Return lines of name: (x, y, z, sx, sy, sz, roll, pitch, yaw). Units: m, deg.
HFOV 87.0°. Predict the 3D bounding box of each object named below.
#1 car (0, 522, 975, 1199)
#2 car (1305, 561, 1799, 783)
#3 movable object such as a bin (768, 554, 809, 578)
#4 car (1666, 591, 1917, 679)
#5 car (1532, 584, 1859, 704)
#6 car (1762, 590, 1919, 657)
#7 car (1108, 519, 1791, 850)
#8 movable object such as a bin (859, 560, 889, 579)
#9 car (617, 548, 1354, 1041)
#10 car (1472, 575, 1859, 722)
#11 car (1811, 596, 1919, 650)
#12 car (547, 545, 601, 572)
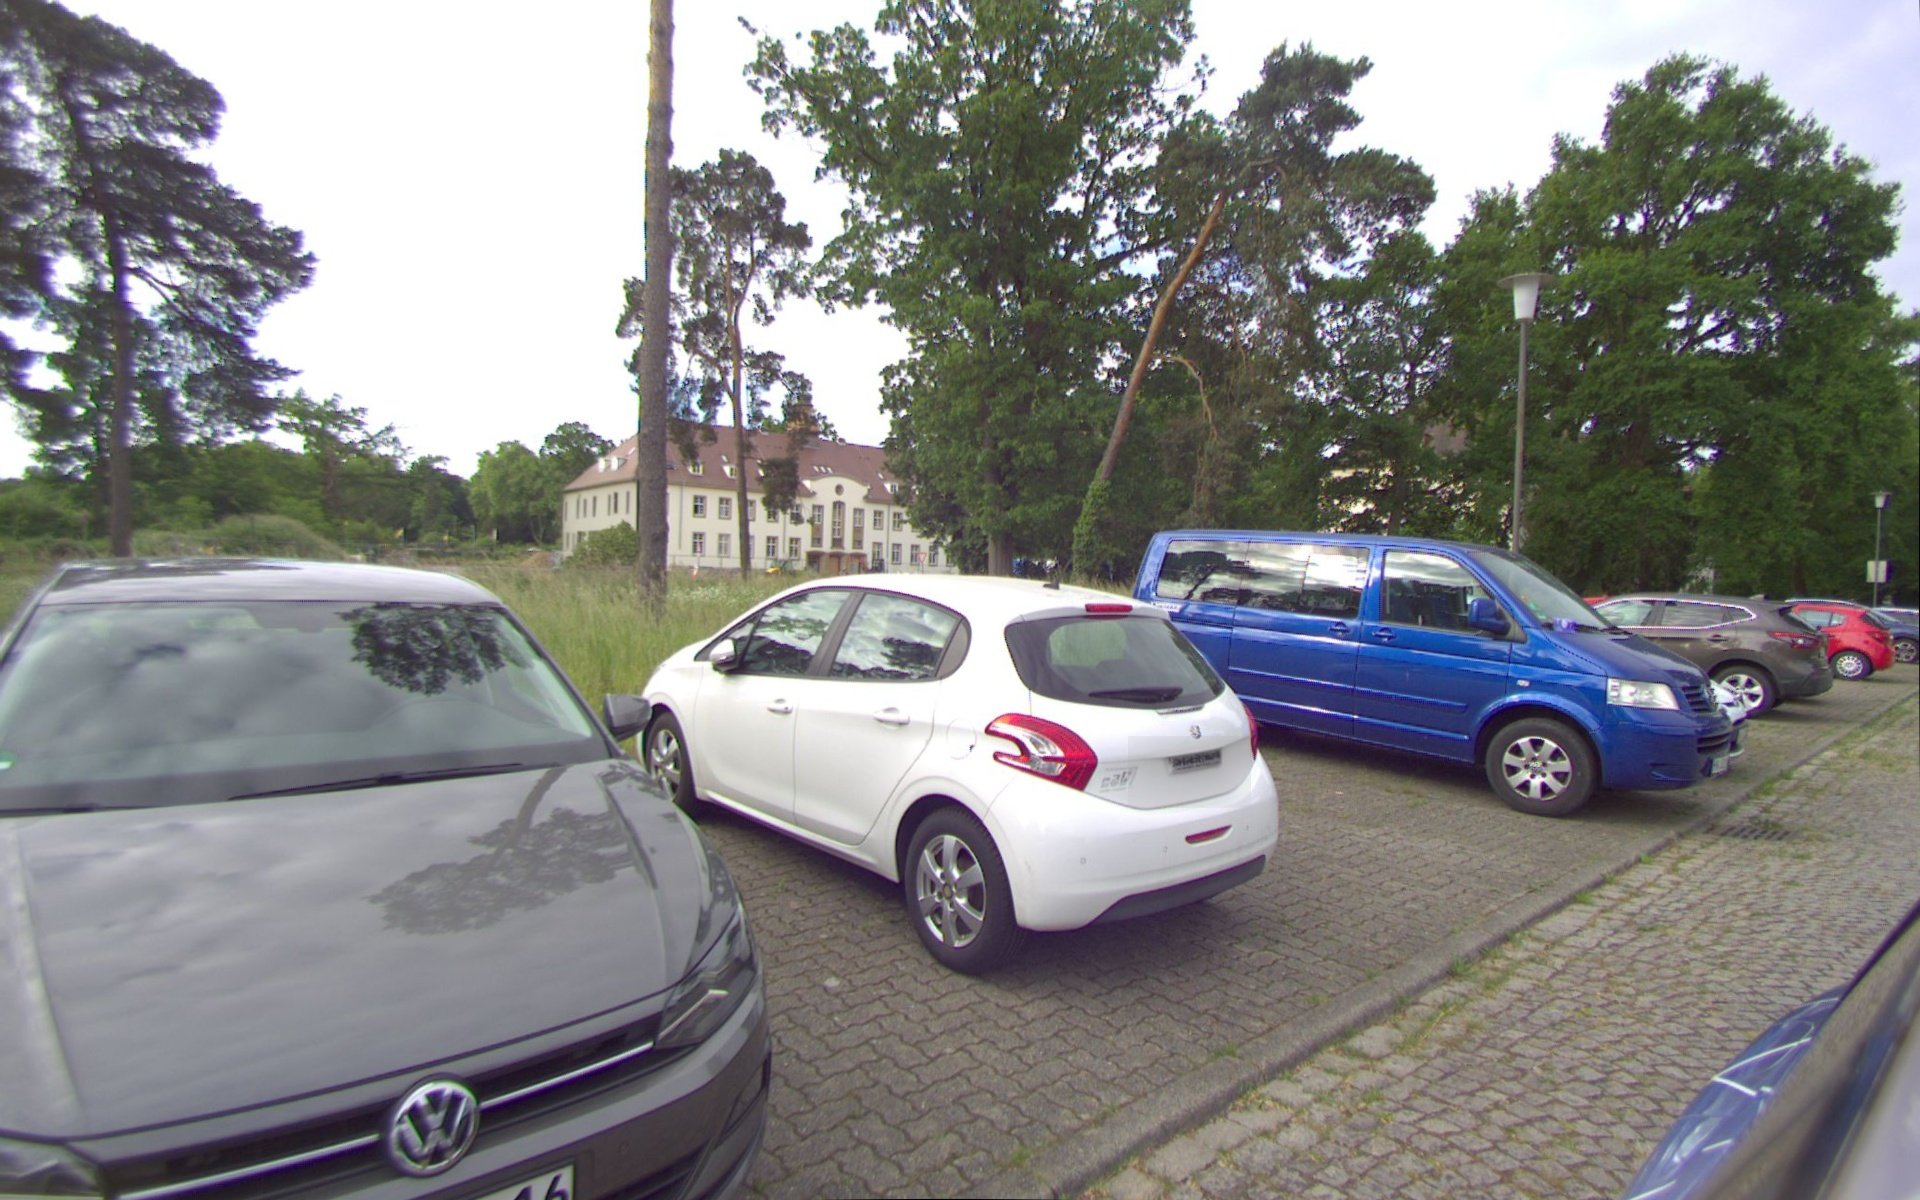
car: (-1.917, 0.592, 3.058, 1.727, 1.490, 3.871, 1, 4, -41)
car: (5.793, 0.536, 10.257, 1.810, 1.489, 3.871, 1, 6, -42)
movable object such as a bin: (-15.352, -3.041, 90.651, 3.181, 2.038, 1.682, 1, 2, -34)
car: (17.556, 0.665, 21.507, 1.555, 1.477, 3.891, 1, 3, -42)
car: (11.948, 0.610, 16.651, 1.735, 1.503, 4.015, 1, 3, -41)
car: (25.112, 0.641, 28.156, 1.555, 1.556, 4.147, 1, 3, -42)
car: (3.816, 0.386, 8.691, 1.969, 1.969, 4.817, 1, 4, -42)
movable object such as a bin: (-9.558, -3.391, 112.071, 2.933, 2.038, 1.553, 1, 2, -41)
car: (-0.210, 0.577, 5.367, 1.727, 1.490, 3.872, 1, 4, -40)
car: (10.076, 0.566, 14.721, 1.791, 1.618, 4.268, 1, 3, -42)
car: (28.731, 0.739, 30.972, 1.555, 1.443, 3.875, 1, 3, -42)
car: (-36.110, -3.909, 94.587, 5.848, 2.268, 2.283, 5, 3, 42)
